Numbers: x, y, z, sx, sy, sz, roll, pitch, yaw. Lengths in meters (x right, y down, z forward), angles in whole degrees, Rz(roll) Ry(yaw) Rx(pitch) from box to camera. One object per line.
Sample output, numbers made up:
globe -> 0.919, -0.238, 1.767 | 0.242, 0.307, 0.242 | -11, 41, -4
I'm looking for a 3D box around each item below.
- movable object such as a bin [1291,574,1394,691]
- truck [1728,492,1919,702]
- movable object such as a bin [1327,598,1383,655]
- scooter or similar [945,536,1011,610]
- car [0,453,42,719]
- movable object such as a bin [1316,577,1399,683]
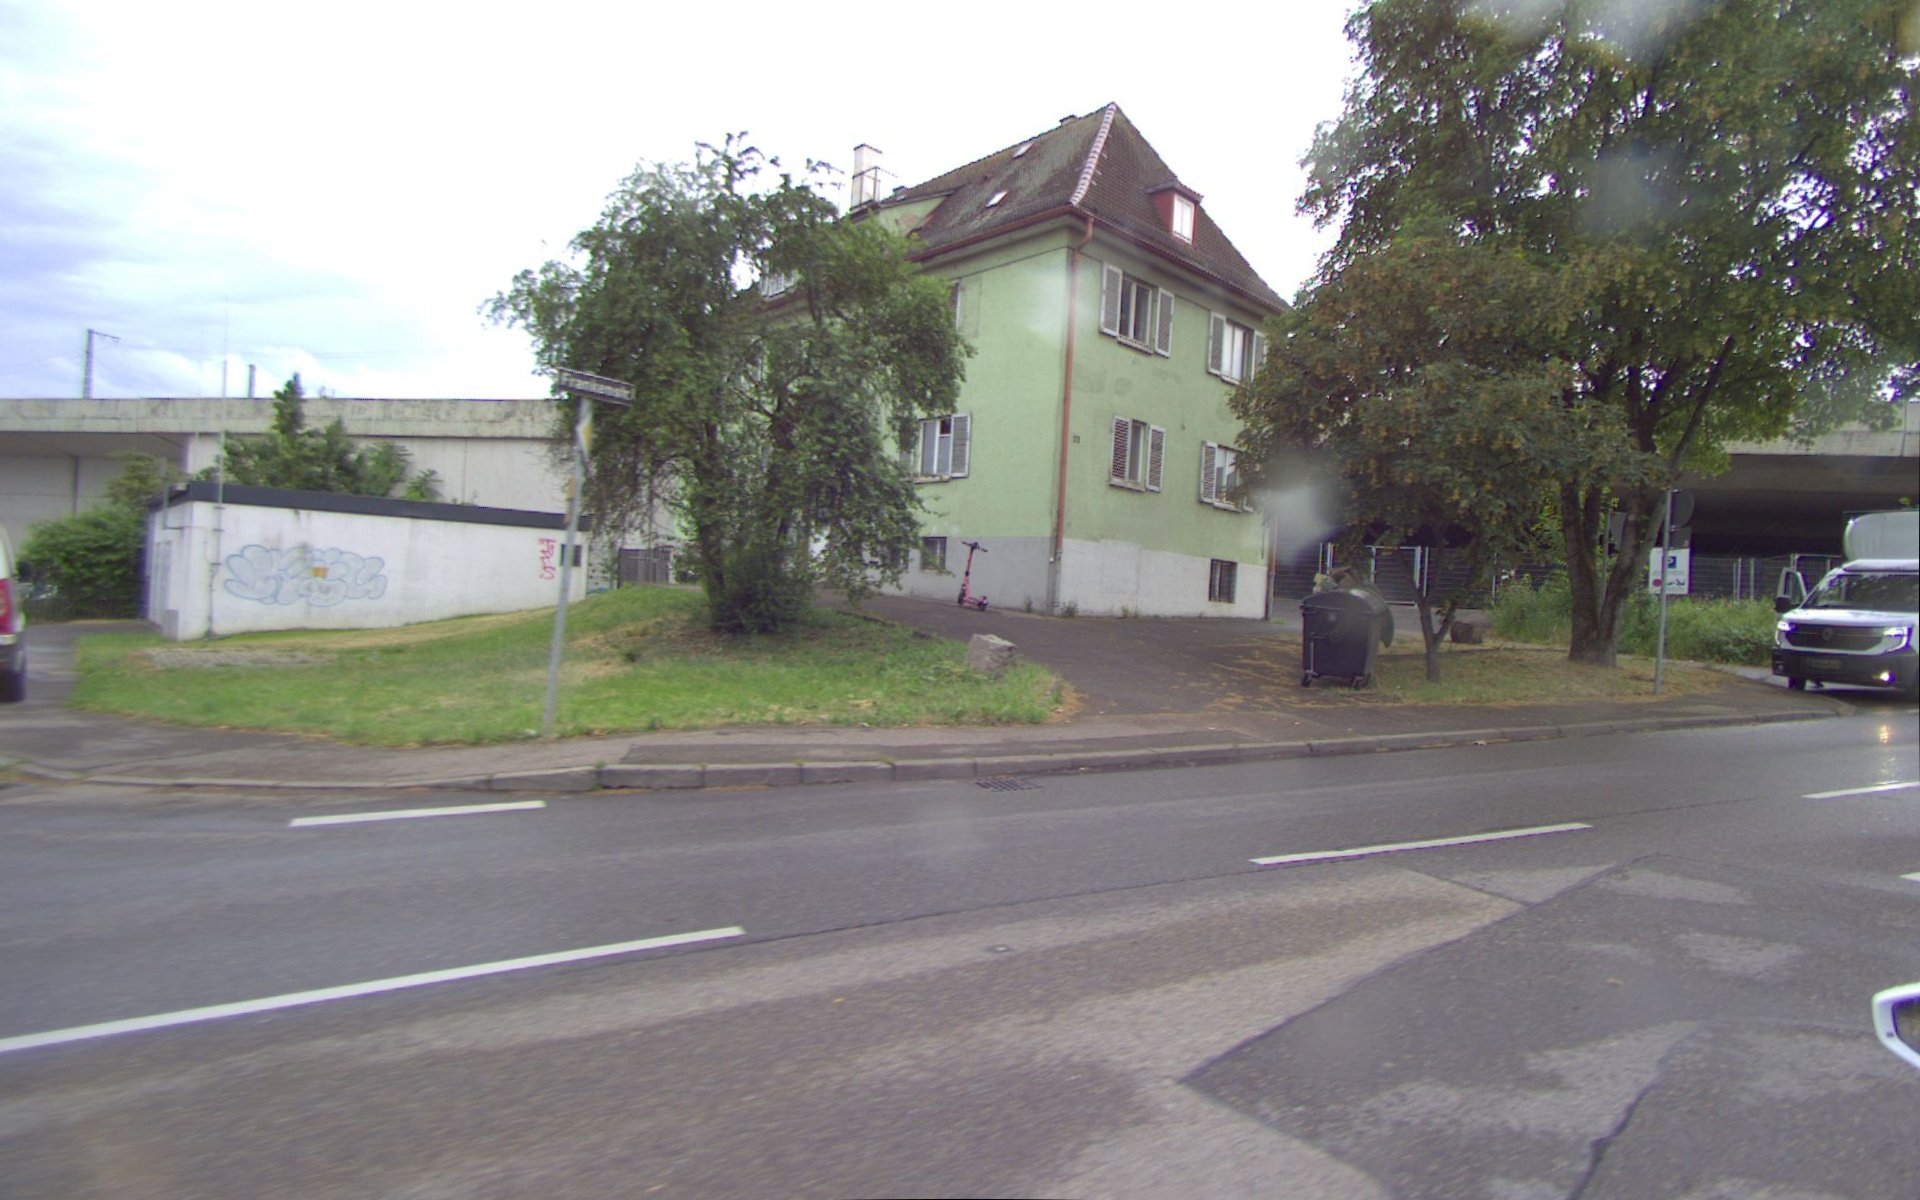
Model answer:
movable object such as a bin -> 5.694, 0.437, 15.019 | 1.269, 1.457, 1.462 | 5, 7, 20
truck -> 17.930, 0.025, 18.301 | 7.662, 3.280, 2.605 | 1, 1, -22
movable object such as a bin -> 6.973, 0.466, 17.730 | 0.713, 0.970, 0.555 | 2, 1, -23
scooter or similar -> 0.318, -0.535, 19.193 | 0.523, 1.291, 1.514 | 2, 5, -28
car -> -12.599, -0.272, 12.081 | 2.247, 2.691, 6.736 | 2, 1, -43
movable object such as a bin -> 6.422, 0.449, 16.304 | 1.079, 1.457, 1.462 | 5, 7, 20
